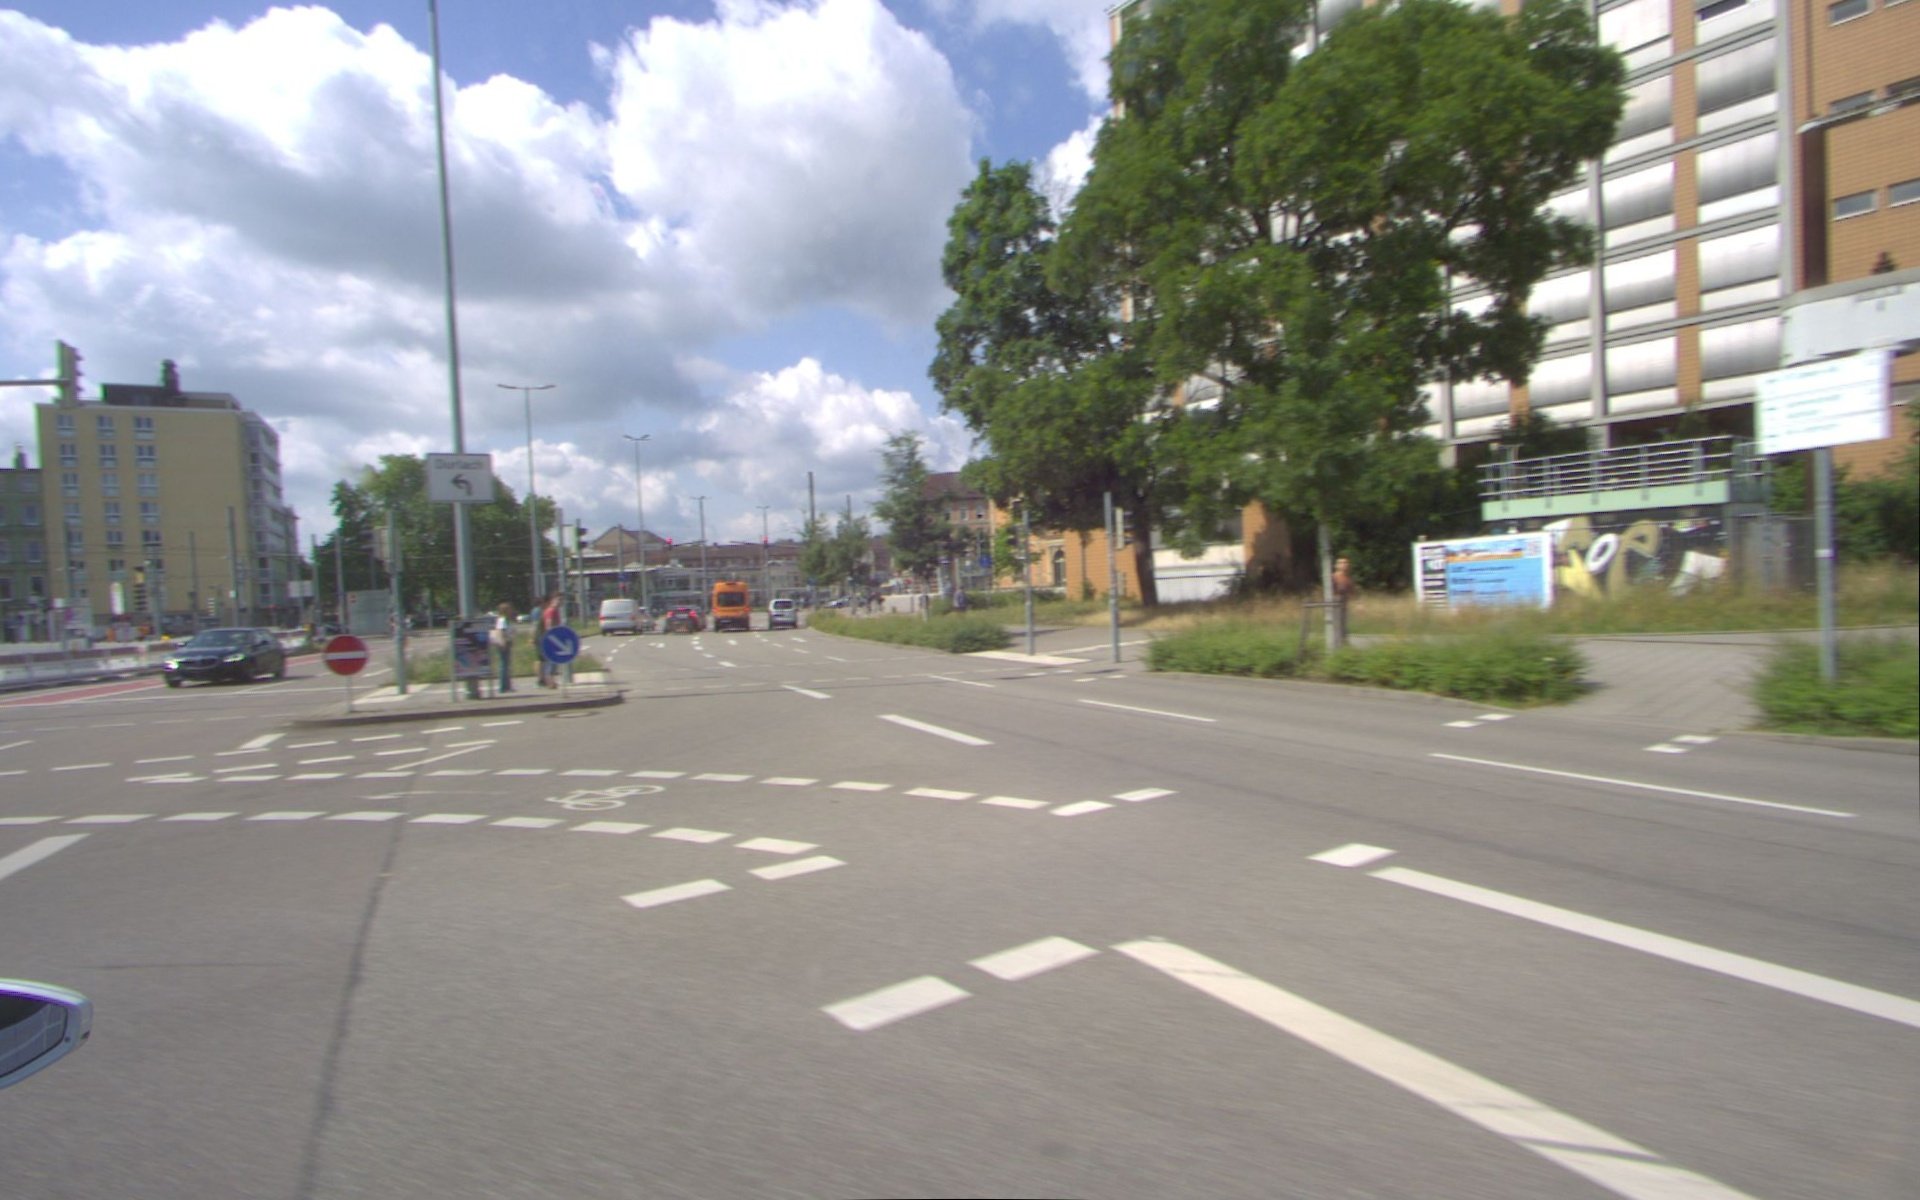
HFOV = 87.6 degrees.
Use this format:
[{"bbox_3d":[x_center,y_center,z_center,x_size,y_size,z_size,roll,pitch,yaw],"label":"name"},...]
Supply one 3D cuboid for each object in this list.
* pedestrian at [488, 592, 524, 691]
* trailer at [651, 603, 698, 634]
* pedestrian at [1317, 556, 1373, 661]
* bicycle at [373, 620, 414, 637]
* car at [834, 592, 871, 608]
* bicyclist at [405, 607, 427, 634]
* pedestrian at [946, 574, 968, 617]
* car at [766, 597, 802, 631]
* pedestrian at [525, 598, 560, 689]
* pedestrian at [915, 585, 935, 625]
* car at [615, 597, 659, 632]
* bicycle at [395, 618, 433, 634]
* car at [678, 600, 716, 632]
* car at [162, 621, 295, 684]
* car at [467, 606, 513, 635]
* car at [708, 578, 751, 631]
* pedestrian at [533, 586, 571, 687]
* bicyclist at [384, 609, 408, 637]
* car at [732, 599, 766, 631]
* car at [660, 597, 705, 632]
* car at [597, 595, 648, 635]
[{"bbox_3d":[-8.318,0.744,18.345,0.518,1.757,0.621,-3,2,-25],"label":"pedestrian"},{"bbox_3d":[-15.600,0.972,54.851,1.962,1.497,3.997,-3,1,-9],"label":"trailer"},{"bbox_3d":[6.641,0.139,17.290,0.652,1.757,0.575,-3,2,-27],"label":"pedestrian"},{"bbox_3d":[-40.353,2.048,71.371,2.343,1.081,0.857,-3,1,-14],"label":"bicycle"},{"bbox_3d":[-12.678,0.019,118.570,3.942,1.662,1.720,-3,1,-31],"label":"car"},{"bbox_3d":[-41.291,1.550,75.991,1.201,1.935,0.833,-3,1,-14],"label":"bicyclist"},{"bbox_3d":[-0.128,-0.187,42.923,0.776,1.808,0.666,-3,1,-13],"label":"pedestrian"},{"bbox_3d":[-10.568,0.808,60.400,1.962,1.819,3.997,-3,1,-9],"label":"car"},{"bbox_3d":[-8.123,0.829,19.476,0.518,1.707,0.621,-3,2,-25],"label":"pedestrian"},{"bbox_3d":[-1.631,0.246,46.400,0.776,1.808,0.666,-3,1,-12],"label":"pedestrian"},{"bbox_3d":[-20.292,0.867,63.012,1.960,1.964,4.634,-3,1,-10],"label":"car"},{"bbox_3d":[-41.440,1.978,75.961,2.343,1.081,0.842,-3,1,-14],"label":"bicycle"},{"bbox_3d":[-17.240,1.015,65.721,1.960,1.964,4.634,-3,1,-10],"label":"car"},{"bbox_3d":[-19.229,1.329,26.537,1.768,1.406,4.215,-2,0,-22],"label":"car"},{"bbox_3d":[-25.196,1.066,53.784,1.638,1.499,4.053,0,0,-17],"label":"car"},{"bbox_3d":[-13.205,0.243,57.575,2.097,2.818,4.634,-3,1,-11],"label":"car"},{"bbox_3d":[-7.296,0.642,17.902,0.518,1.757,0.621,-3,2,-25],"label":"pedestrian"},{"bbox_3d":[-40.211,1.615,71.391,1.201,1.935,0.857,-3,1,-14],"label":"bicyclist"},{"bbox_3d":[-13.924,0.936,66.305,1.960,1.964,4.634,-3,1,-10],"label":"car"},{"bbox_3d":[-16.172,0.822,58.507,1.962,1.851,3.997,-3,1,-9],"label":"car"},{"bbox_3d":[-18.837,0.802,56.110,1.974,1.993,4.634,-3,1,-10],"label":"car"}]
